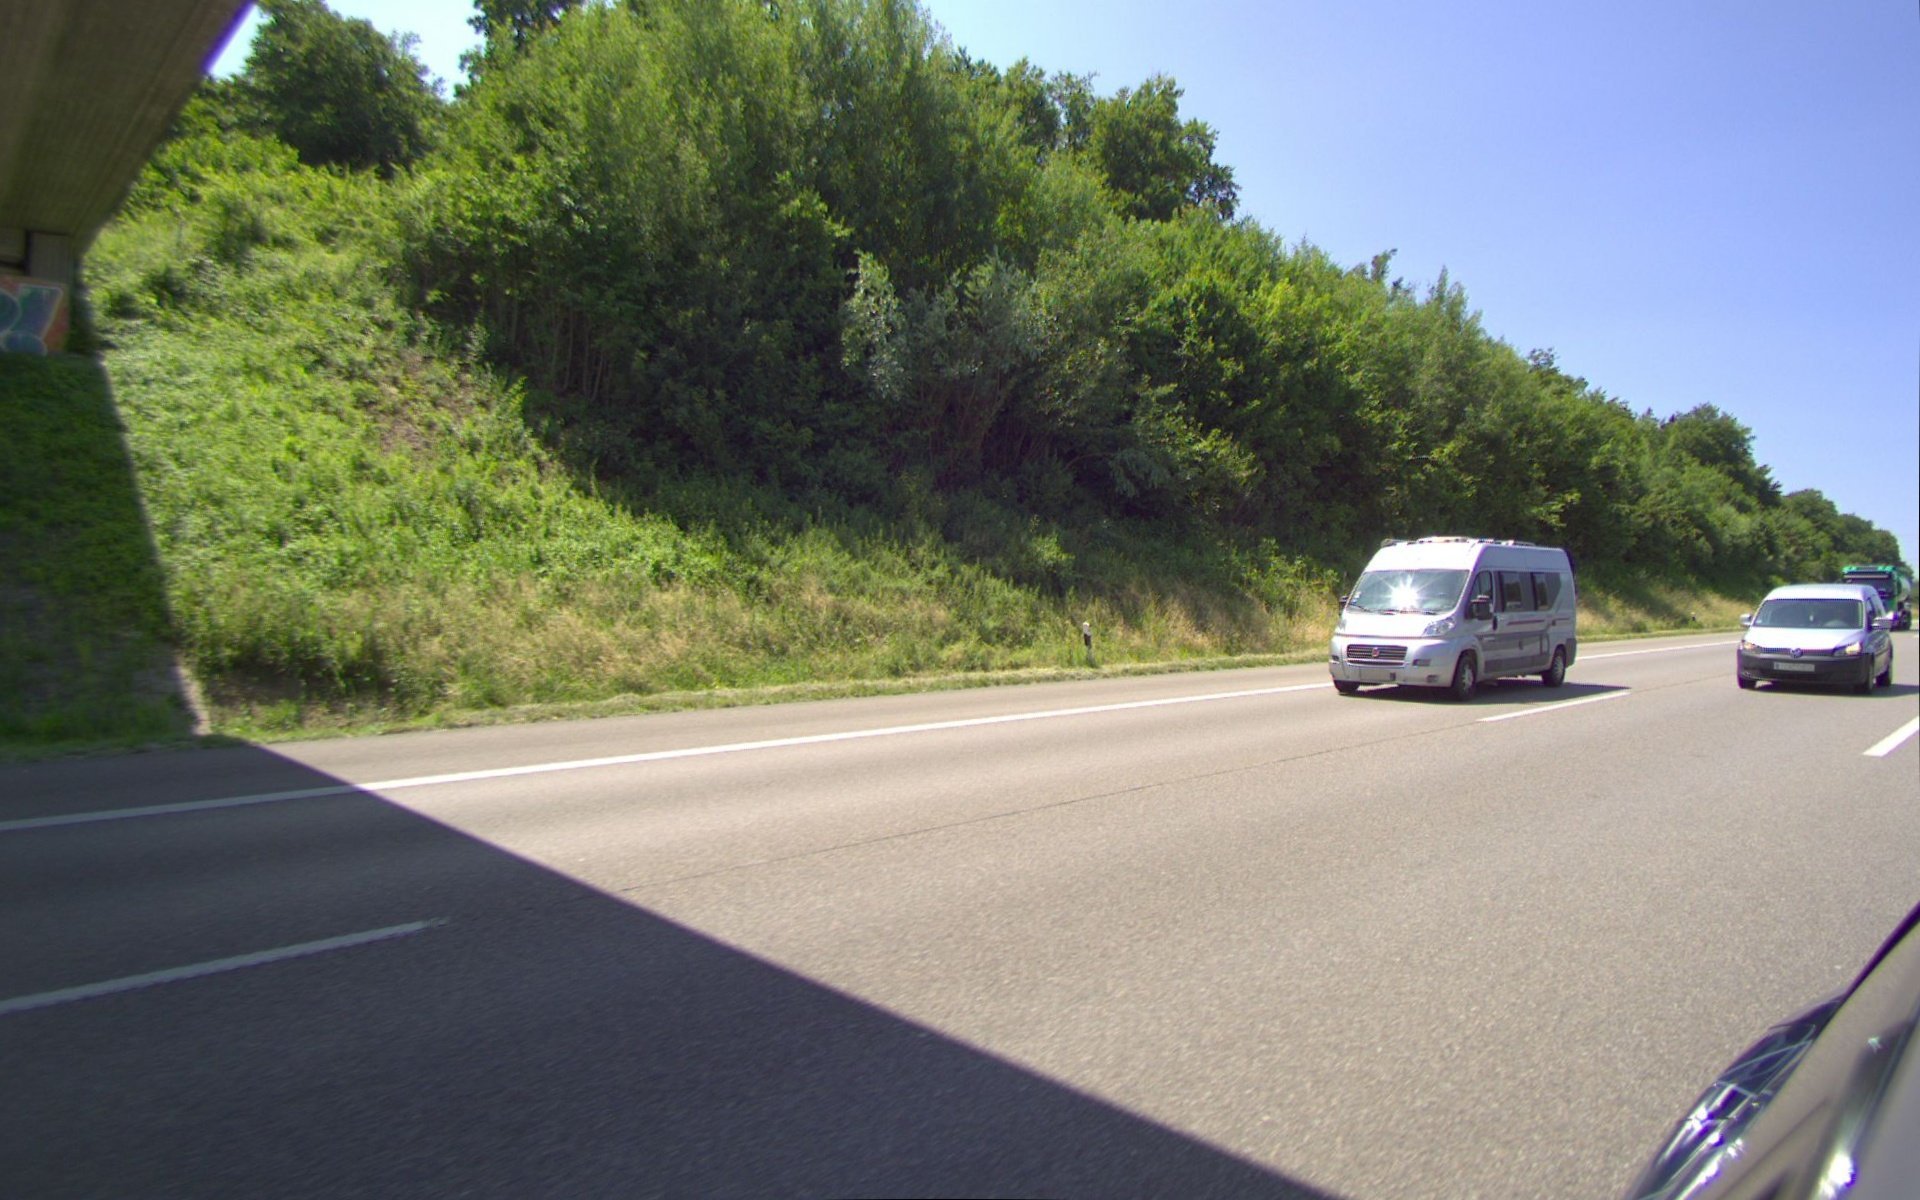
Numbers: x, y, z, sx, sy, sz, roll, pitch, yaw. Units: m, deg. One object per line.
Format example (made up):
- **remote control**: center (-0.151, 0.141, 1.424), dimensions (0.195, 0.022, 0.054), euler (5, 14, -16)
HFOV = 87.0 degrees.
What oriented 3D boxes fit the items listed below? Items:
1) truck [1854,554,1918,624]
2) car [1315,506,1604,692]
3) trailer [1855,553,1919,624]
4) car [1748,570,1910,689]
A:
- **truck**: center (53.724, -0.554, 58.680), dimensions (4.812, 3.891, 2.511), euler (2, -1, -45)
- **car**: center (8.668, 0.038, 17.147), dimensions (6.506, 2.609, 2.092), euler (1, -1, -41)
- **trailer**: center (57.479, -0.573, 62.342), dimensions (10.293, 4.079, 2.590), euler (1, -1, -43)
- **car**: center (15.613, 0.459, 18.086), dimensions (4.721, 1.853, 1.747), euler (0, 0, -44)
